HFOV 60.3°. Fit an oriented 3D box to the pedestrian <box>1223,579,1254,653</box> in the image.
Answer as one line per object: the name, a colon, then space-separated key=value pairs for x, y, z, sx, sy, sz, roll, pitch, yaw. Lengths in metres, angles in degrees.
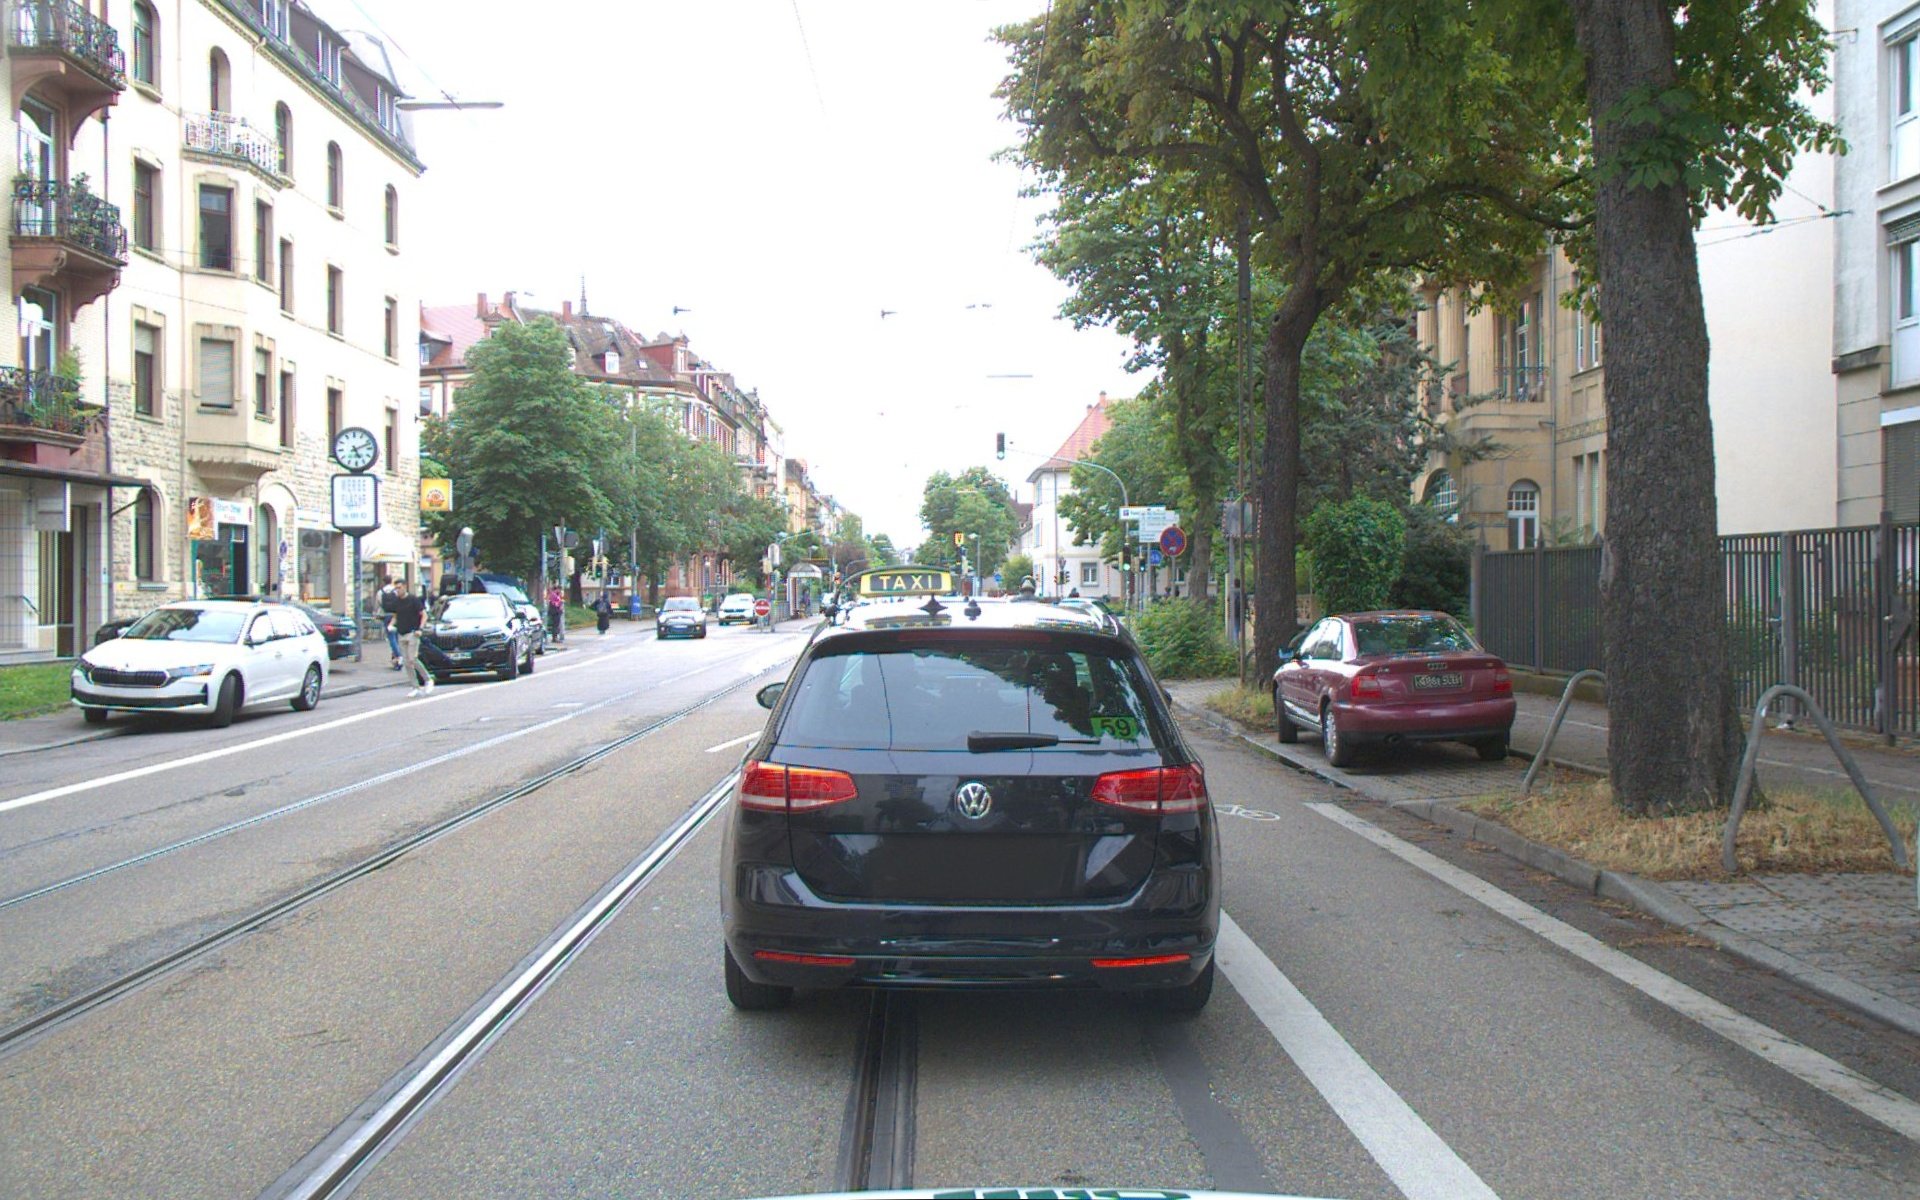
pedestrian: x=7.010 y=0.397 z=41.604 sx=0.619 sy=1.846 sz=0.726 roll=-1 pitch=0 yaw=-3

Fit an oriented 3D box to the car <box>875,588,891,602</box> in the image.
car: x=-8.503 y=-0.582 z=183.649 sx=1.686 sy=1.490 sz=3.862 roll=-1 pitch=0 yaw=-1

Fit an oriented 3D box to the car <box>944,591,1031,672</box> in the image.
car: x=0.517 y=0.611 z=34.304 sx=1.688 sy=1.573 sz=3.999 roll=0 pitch=0 yaw=-1

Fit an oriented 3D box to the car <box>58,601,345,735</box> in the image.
car: x=-9.697 y=0.792 z=21.588 sx=1.712 sy=1.510 sz=4.607 roll=-1 pitch=0 yaw=-2

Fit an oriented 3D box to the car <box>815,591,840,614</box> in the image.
car: x=-10.240 y=0.180 z=128.426 sx=1.686 sy=1.651 sz=3.862 roll=-1 pitch=0 yaw=-1

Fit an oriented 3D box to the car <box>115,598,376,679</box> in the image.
car: x=-14.122 y=0.750 z=32.918 sx=4.339 sy=1.394 sz=1.878 roll=2 pitch=0 yaw=-6

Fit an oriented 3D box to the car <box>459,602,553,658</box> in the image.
car: x=-12.470 y=0.799 z=45.691 sx=1.616 sy=1.385 sz=4.127 roll=2 pitch=0 yaw=-3

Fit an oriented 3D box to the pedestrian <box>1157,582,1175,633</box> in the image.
pedestrian: x=7.712 y=0.282 z=61.999 sx=0.503 sy=1.862 sz=0.418 roll=-3 pitch=0 yaw=15

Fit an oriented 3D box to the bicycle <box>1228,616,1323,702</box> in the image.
bicycle: x=4.665 y=0.854 z=24.356 sx=0.426 sy=1.219 sz=1.891 roll=-1 pitch=-1 yaw=44

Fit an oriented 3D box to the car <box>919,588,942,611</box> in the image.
car: x=-2.579 y=-0.036 z=147.067 sx=1.991 sy=2.049 sz=3.999 roll=1 pitch=0 yaw=-1

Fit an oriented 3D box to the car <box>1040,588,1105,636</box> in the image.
car: x=3.926 y=0.419 z=58.356 sx=1.953 sy=1.605 sz=3.999 roll=1 pitch=0 yaw=-1

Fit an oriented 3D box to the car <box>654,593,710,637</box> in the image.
car: x=-9.846 y=0.504 z=58.716 sx=1.577 sy=1.447 sz=3.484 roll=-2 pitch=0 yaw=-4

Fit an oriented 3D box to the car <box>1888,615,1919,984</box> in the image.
car: x=4.567 y=0.774 z=4.809 sx=1.569 sy=1.460 sz=3.776 roll=-2 pitch=0 yaw=0

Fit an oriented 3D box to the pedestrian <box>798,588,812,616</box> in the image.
pedestrian: x=-8.534 y=0.110 z=91.330 sx=0.699 sy=1.547 sz=0.590 roll=-1 pitch=0 yaw=1

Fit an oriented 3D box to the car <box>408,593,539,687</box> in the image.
car: x=-9.646 y=0.733 z=33.136 sx=1.849 sy=1.639 sz=4.876 roll=-3 pitch=0 yaw=-9

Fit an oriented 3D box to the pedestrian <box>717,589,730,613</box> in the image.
pedestrian: x=-15.066 y=0.048 z=105.334 sx=0.577 sy=1.547 sz=0.647 roll=-1 pitch=0 yaw=34

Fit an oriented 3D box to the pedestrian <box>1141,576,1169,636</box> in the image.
pedestrian: x=6.274 y=0.191 z=53.147 sx=0.593 sy=1.862 sz=0.584 roll=-3 pitch=0 yaw=-20

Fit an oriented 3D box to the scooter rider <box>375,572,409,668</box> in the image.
scooter rider: x=-12.368 y=0.424 z=36.009 sx=0.631 sy=2.049 sz=0.754 roll=-1 pitch=0 yaw=-16

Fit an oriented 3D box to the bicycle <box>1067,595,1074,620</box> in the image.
bicycle: x=5.422 y=0.360 z=81.167 sx=0.291 sy=1.244 sz=1.431 roll=-1 pitch=0 yaw=6

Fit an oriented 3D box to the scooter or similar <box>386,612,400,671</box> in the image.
scooter or similar: x=-12.345 y=0.898 z=36.018 sx=0.227 sy=1.256 sz=0.949 roll=-1 pitch=0 yaw=-15

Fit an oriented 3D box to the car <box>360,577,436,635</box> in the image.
car: x=-26.055 y=0.244 z=76.561 sx=2.158 sy=2.571 sz=5.320 roll=-1 pitch=0 yaw=-32

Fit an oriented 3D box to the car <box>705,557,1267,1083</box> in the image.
car: x=0.055 y=0.644 z=6.968 sx=1.688 sy=1.573 sz=3.999 roll=0 pitch=0 yaw=-1

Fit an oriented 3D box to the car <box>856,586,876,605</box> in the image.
car: x=-8.561 y=-0.401 z=150.858 sx=1.686 sy=1.651 sz=3.862 roll=-1 pitch=0 yaw=-1

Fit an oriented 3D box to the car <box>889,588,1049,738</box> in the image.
car: x=0.069 y=0.643 z=19.357 sx=1.688 sy=1.573 sz=3.999 roll=0 pitch=0 yaw=-1

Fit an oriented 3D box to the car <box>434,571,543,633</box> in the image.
car: x=-19.439 y=0.077 z=68.008 sx=2.168 sy=2.459 sz=5.295 roll=-1 pitch=0 yaw=-43

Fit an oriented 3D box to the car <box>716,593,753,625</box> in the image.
car: x=-11.349 y=0.439 z=83.508 sx=1.666 sy=1.522 sz=3.926 roll=-2 pitch=0 yaw=-6

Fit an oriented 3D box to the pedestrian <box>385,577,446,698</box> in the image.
pedestrian: x=-8.599 y=0.577 z=26.139 sx=0.654 sy=1.876 sz=0.882 roll=-1 pitch=0 yaw=-2

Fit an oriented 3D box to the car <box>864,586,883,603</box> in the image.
car: x=-8.670 y=-0.516 z=165.742 sx=1.686 sy=1.651 sz=3.862 roll=-1 pitch=0 yaw=-1

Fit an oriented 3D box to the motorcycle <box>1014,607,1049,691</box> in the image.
motorcycle: x=1.125 y=0.758 z=26.318 sx=0.437 sy=1.257 sz=1.906 roll=-1 pitch=0 yaw=-1

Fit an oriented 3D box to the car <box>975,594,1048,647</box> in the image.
car: x=1.536 y=0.559 z=48.181 sx=1.852 sy=1.432 sz=4.003 roll=-1 pitch=0 yaw=5

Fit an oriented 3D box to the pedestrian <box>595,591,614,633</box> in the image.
pedestrian: x=-14.226 y=0.470 z=66.217 sx=0.577 sy=1.692 sz=0.839 roll=-1 pitch=0 yaw=-2

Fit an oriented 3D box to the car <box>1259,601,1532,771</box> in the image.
car: x=4.278 y=0.771 z=16.897 sx=1.569 sy=1.423 sz=4.226 roll=-2 pitch=0 yaw=-1

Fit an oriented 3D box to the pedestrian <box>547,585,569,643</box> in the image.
pedestrian: x=-13.204 y=0.456 z=54.338 sx=0.610 sy=1.875 sz=0.609 roll=-1 pitch=0 yaw=-3

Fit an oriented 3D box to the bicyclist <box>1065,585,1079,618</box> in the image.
bicyclist: x=5.497 y=0.074 z=81.259 sx=0.637 sy=1.596 sz=0.696 roll=-1 pitch=0 yaw=6

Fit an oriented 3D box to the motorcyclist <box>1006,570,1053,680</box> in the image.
motorcyclist: x=1.098 y=0.394 z=26.443 sx=0.688 sy=1.722 sz=0.804 roll=-1 pitch=0 yaw=-1
